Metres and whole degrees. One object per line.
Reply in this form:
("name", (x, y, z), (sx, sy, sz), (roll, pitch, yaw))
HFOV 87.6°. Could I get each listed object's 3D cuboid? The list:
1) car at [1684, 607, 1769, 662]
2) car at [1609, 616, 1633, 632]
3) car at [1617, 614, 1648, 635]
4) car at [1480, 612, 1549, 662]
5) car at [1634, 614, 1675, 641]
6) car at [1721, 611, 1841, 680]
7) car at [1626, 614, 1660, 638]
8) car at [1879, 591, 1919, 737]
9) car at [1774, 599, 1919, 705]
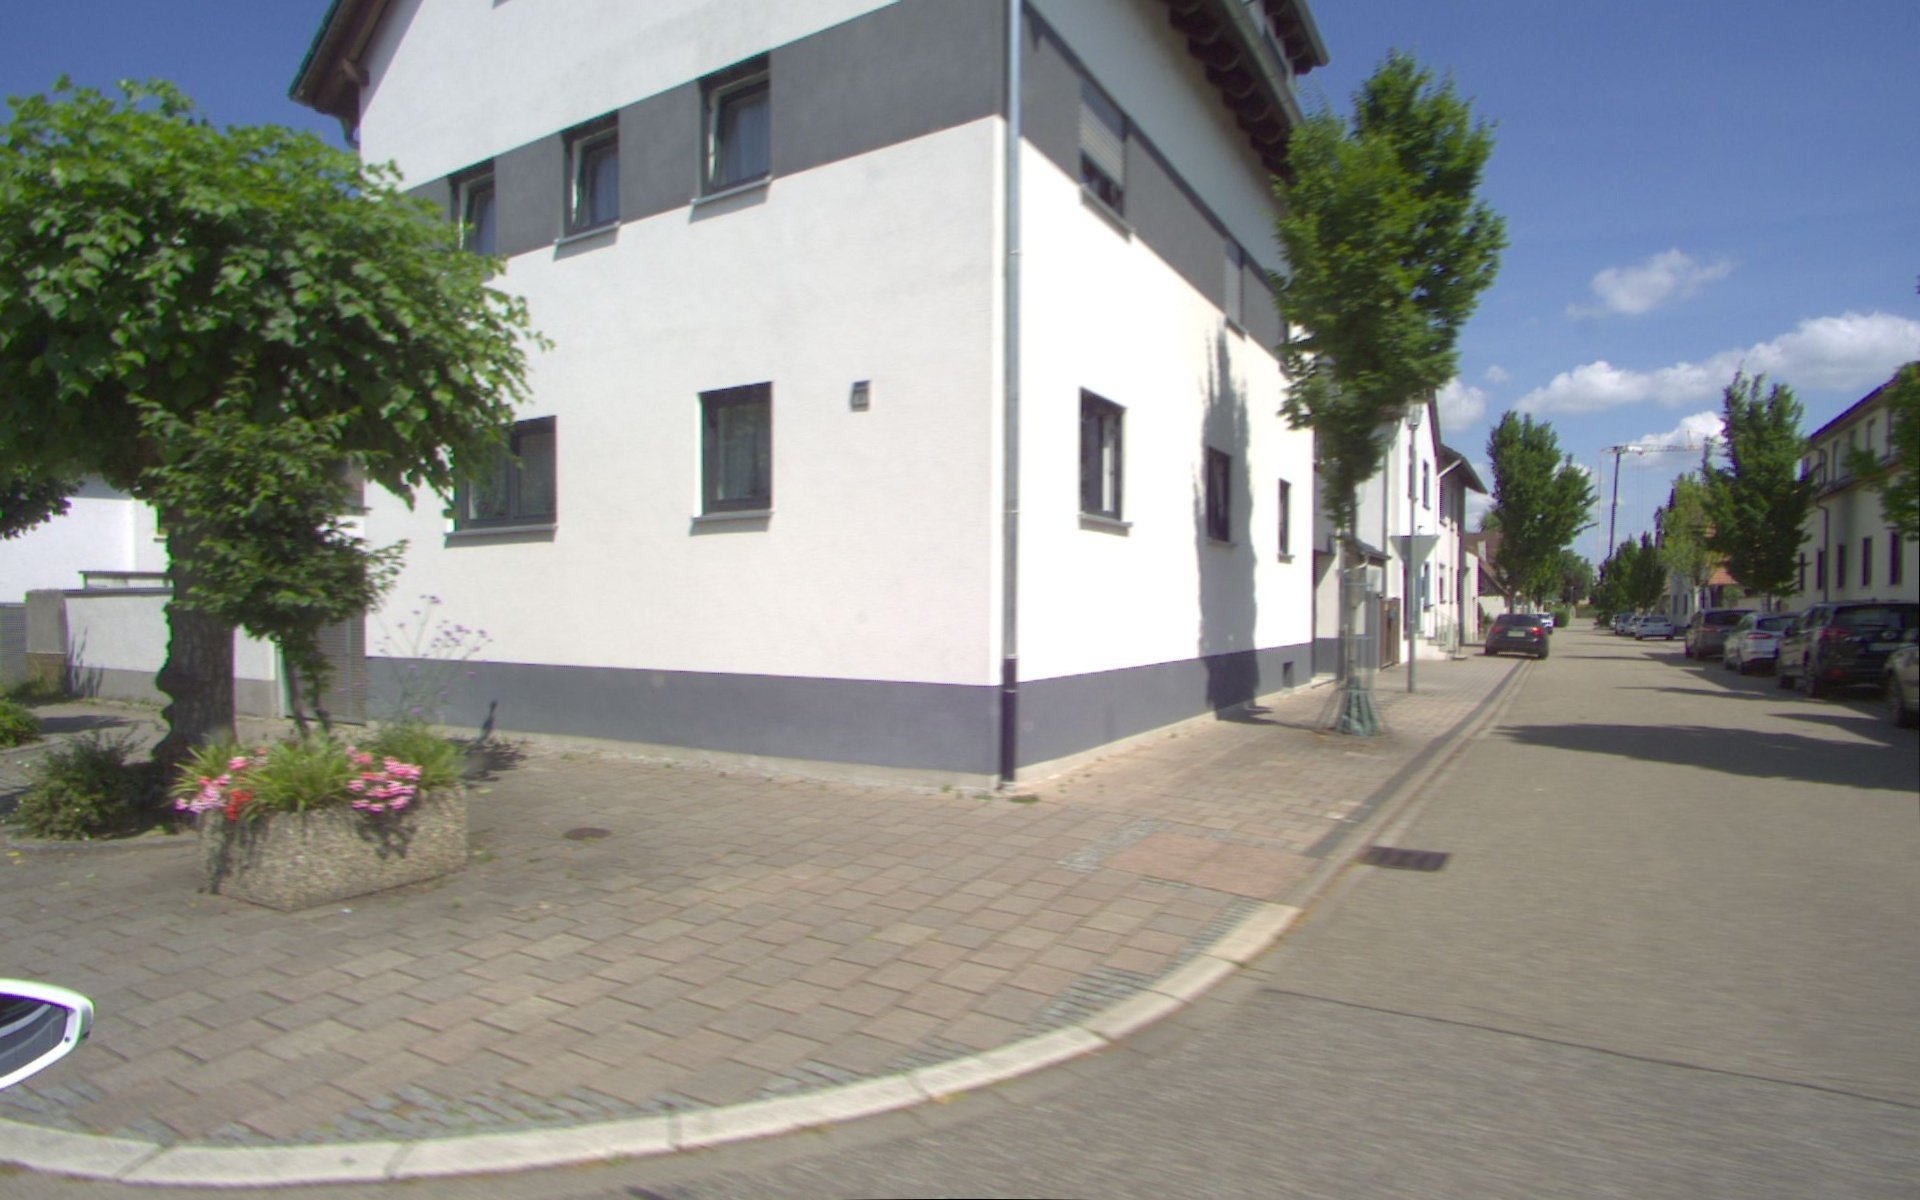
("car", (24.202, 1.050, 31.728), (1.747, 1.621, 4.045), (0, -1, 32))
("car", (63.575, 2.268, 96.345), (1.747, 1.513, 4.045), (0, -1, 32))
("car", (49.520, 1.803, 73.768), (1.747, 1.513, 4.045), (0, -1, 32))
("car", (18.362, 1.154, 33.062), (1.730, 1.457, 4.045), (3, 1, 32))
("car", (40.784, 1.581, 58.868), (1.747, 1.513, 4.045), (0, -1, 32))
("car", (19.991, 1.036, 24.528), (1.747, 1.539, 4.045), (0, -1, 32))
("car", (46.177, 1.740, 67.752), (1.747, 1.513, 4.045), (0, -1, 32))
("car", (11.781, 0.728, 10.952), (1.803, 1.694, 4.157), (0, -1, 32))
("car", (16.086, 0.852, 17.935), (1.803, 1.694, 4.157), (0, -1, 32))
